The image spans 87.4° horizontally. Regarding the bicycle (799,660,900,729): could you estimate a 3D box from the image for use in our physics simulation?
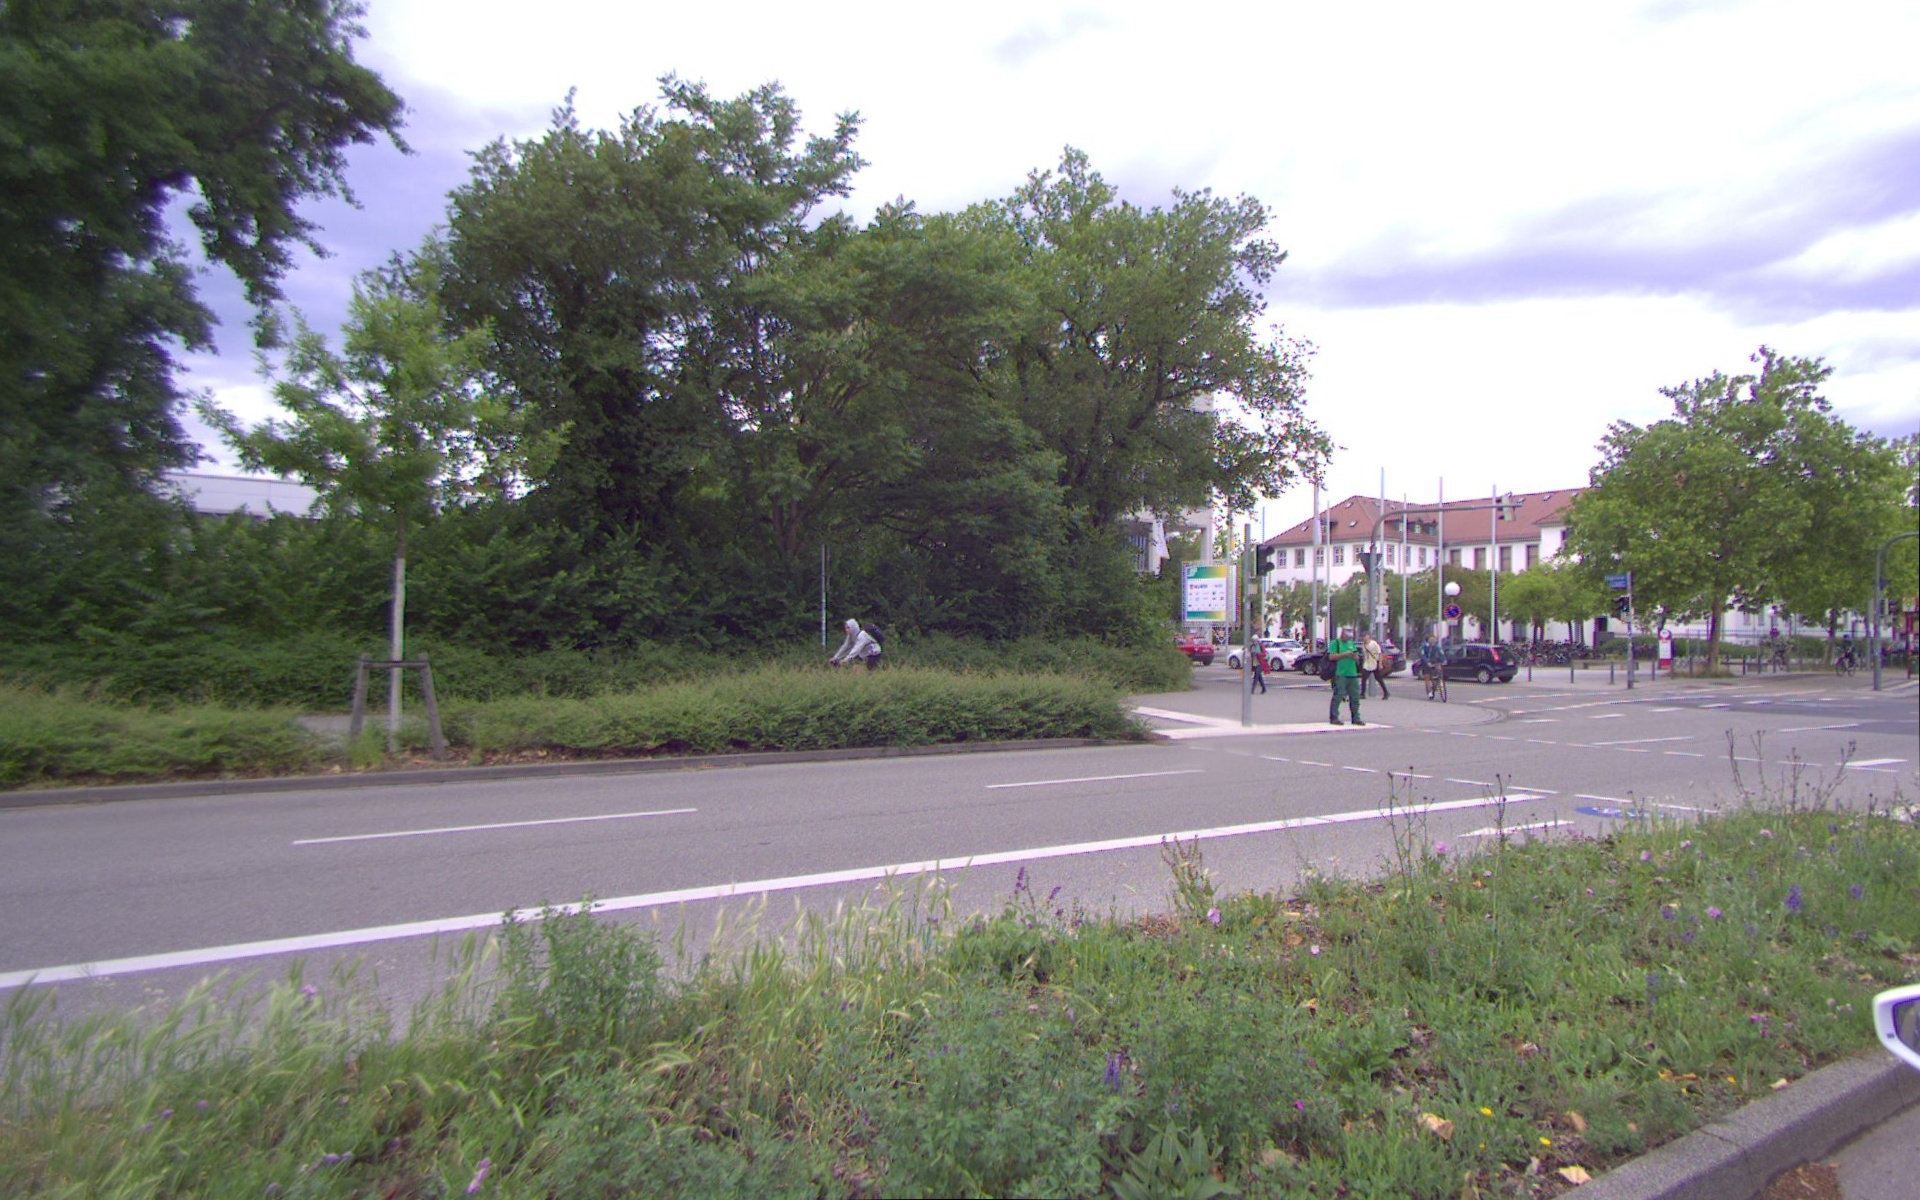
[{"bbox_3d":[-1.873,1.576,16.953,1.594,1.076,0.665,1,0,-19],"label":"bicycle"}]

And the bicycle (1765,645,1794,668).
[{"bbox_3d":[40.990,2.821,50.235,2.025,1.074,0.603,1,-3,-37],"label":"bicycle"}]

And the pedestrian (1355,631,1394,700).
[{"bbox_3d":[10.947,1.726,26.533,0.827,1.761,0.830,0,-5,30],"label":"pedestrian"}]

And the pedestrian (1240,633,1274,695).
[{"bbox_3d":[7.782,1.671,26.262,0.563,1.545,0.846,0,-6,36],"label":"pedestrian"}]

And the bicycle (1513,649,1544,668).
[{"bbox_3d":[31.933,3.267,56.430,1.385,1.066,0.586,-3,-3,41],"label":"bicycle"}]

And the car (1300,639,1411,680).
[{"bbox_3d":[16.729,2.496,42.594,4.006,1.472,1.613,-2,3,43],"label":"car"}]

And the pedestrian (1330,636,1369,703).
[{"bbox_3d":[9.524,1.703,24.574,0.776,1.578,0.700,2,-4,16],"label":"pedestrian"}]

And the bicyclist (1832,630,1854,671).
[{"bbox_3d":[36.353,2.086,41.362,0.581,1.647,0.488,0,1,-30],"label":"bicyclist"}]

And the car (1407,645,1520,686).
[{"bbox_3d":[19.648,2.518,39.298,1.548,1.240,3.630,-7,4,-35],"label":"car"}]

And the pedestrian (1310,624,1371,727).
[{"bbox_3d":[6.935,1.355,18.362,0.924,1.782,0.876,2,-1,16],"label":"pedestrian"}]

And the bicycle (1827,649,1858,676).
[{"bbox_3d":[36.358,2.561,41.368,1.571,1.019,0.485,0,1,-31],"label":"bicycle"}]

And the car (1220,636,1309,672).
[{"bbox_3d":[14.380,2.524,47.575,1.667,1.560,3.857,-1,0,-32],"label":"car"}]

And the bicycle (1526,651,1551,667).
[{"bbox_3d":[32.656,3.330,56.681,1.191,0.892,0.263,-2,-3,38],"label":"bicycle"}]

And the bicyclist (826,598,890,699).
[{"bbox_3d":[-1.733,0.805,17.003,0.946,1.657,0.665,1,0,-18],"label":"bicyclist"}]

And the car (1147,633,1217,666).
[{"bbox_3d":[11.360,2.513,51.644,1.547,1.499,3.322,1,0,-36],"label":"car"}]
